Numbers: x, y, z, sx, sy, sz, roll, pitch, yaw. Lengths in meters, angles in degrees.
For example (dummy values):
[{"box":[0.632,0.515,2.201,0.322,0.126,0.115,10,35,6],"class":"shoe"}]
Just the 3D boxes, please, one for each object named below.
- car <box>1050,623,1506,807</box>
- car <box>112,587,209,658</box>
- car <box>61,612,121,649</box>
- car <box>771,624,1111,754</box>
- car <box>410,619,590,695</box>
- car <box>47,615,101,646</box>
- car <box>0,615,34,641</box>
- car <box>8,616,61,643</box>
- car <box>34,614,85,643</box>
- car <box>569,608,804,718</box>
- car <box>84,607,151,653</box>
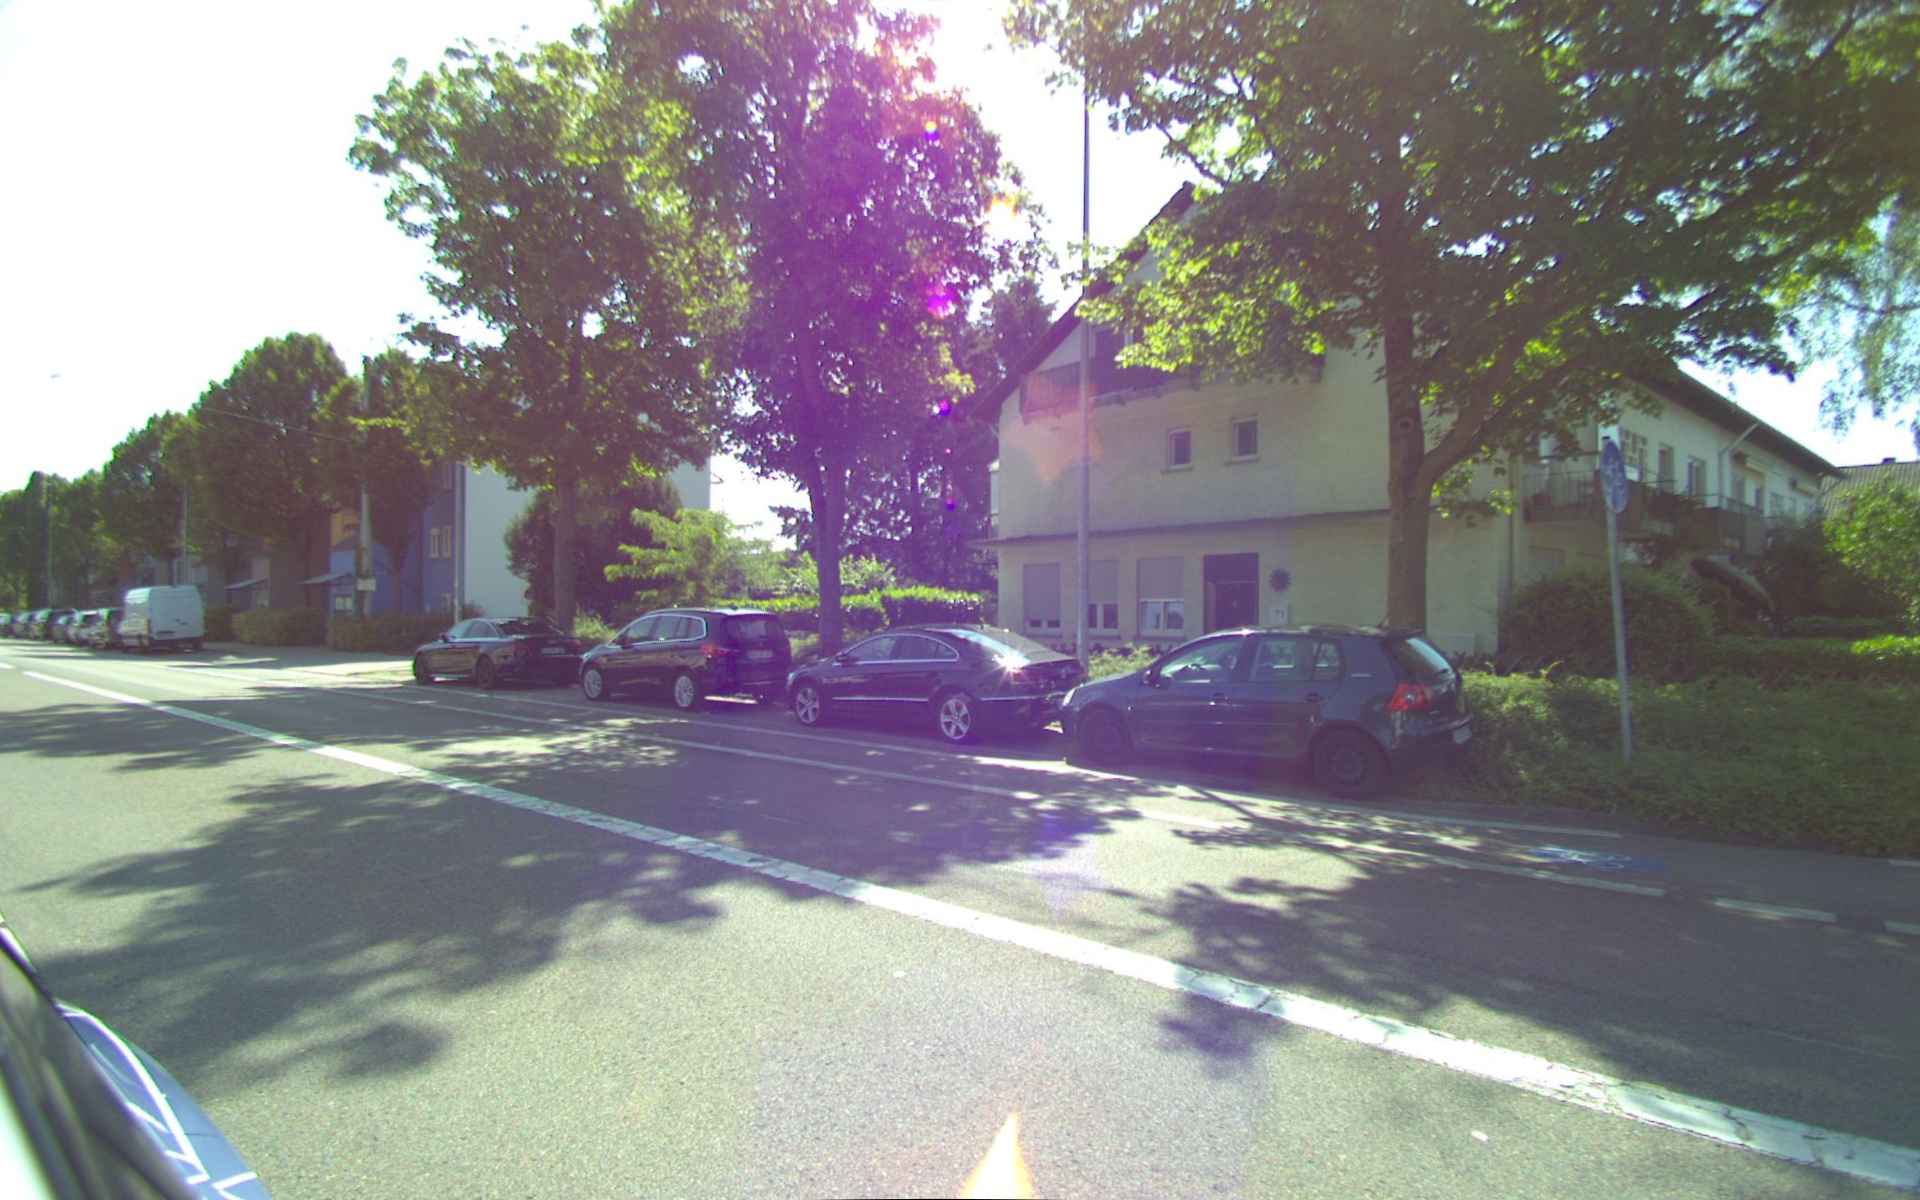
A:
[{"box":[3.006,0.971,10.132,4.082,1.462,1.598,-1,-2,42],"class":"car"},{"box":[-33.107,0.904,41.842,6.083,2.671,1.991,-1,2,41],"class":"car"},{"box":[-43.729,1.511,50.894,4.146,1.681,1.657,-1,2,41],"class":"car"},{"box":[-0.398,1.046,13.393,4.579,1.406,1.679,-1,-2,42],"class":"car"},{"box":[-9.802,1.127,21.426,4.453,1.447,1.658,-1,-2,39],"class":"car"},{"box":[-47.759,1.601,54.521,3.764,1.513,1.658,-1,2,41],"class":"car"},{"box":[-60.526,1.787,64.432,3.760,1.513,1.659,-1,2,38],"class":"car"},{"box":[-55.823,1.759,61.038,3.760,1.513,1.659,-1,2,38],"class":"car"},{"box":[-51.291,1.608,57.621,3.764,1.513,1.658,-1,2,41],"class":"car"},{"box":[-4.681,0.976,17.044,4.238,1.625,1.658,-1,-2,39],"class":"car"},{"box":[-39.373,1.369,47.259,4.455,1.950,1.657,-1,2,41],"class":"car"}]
